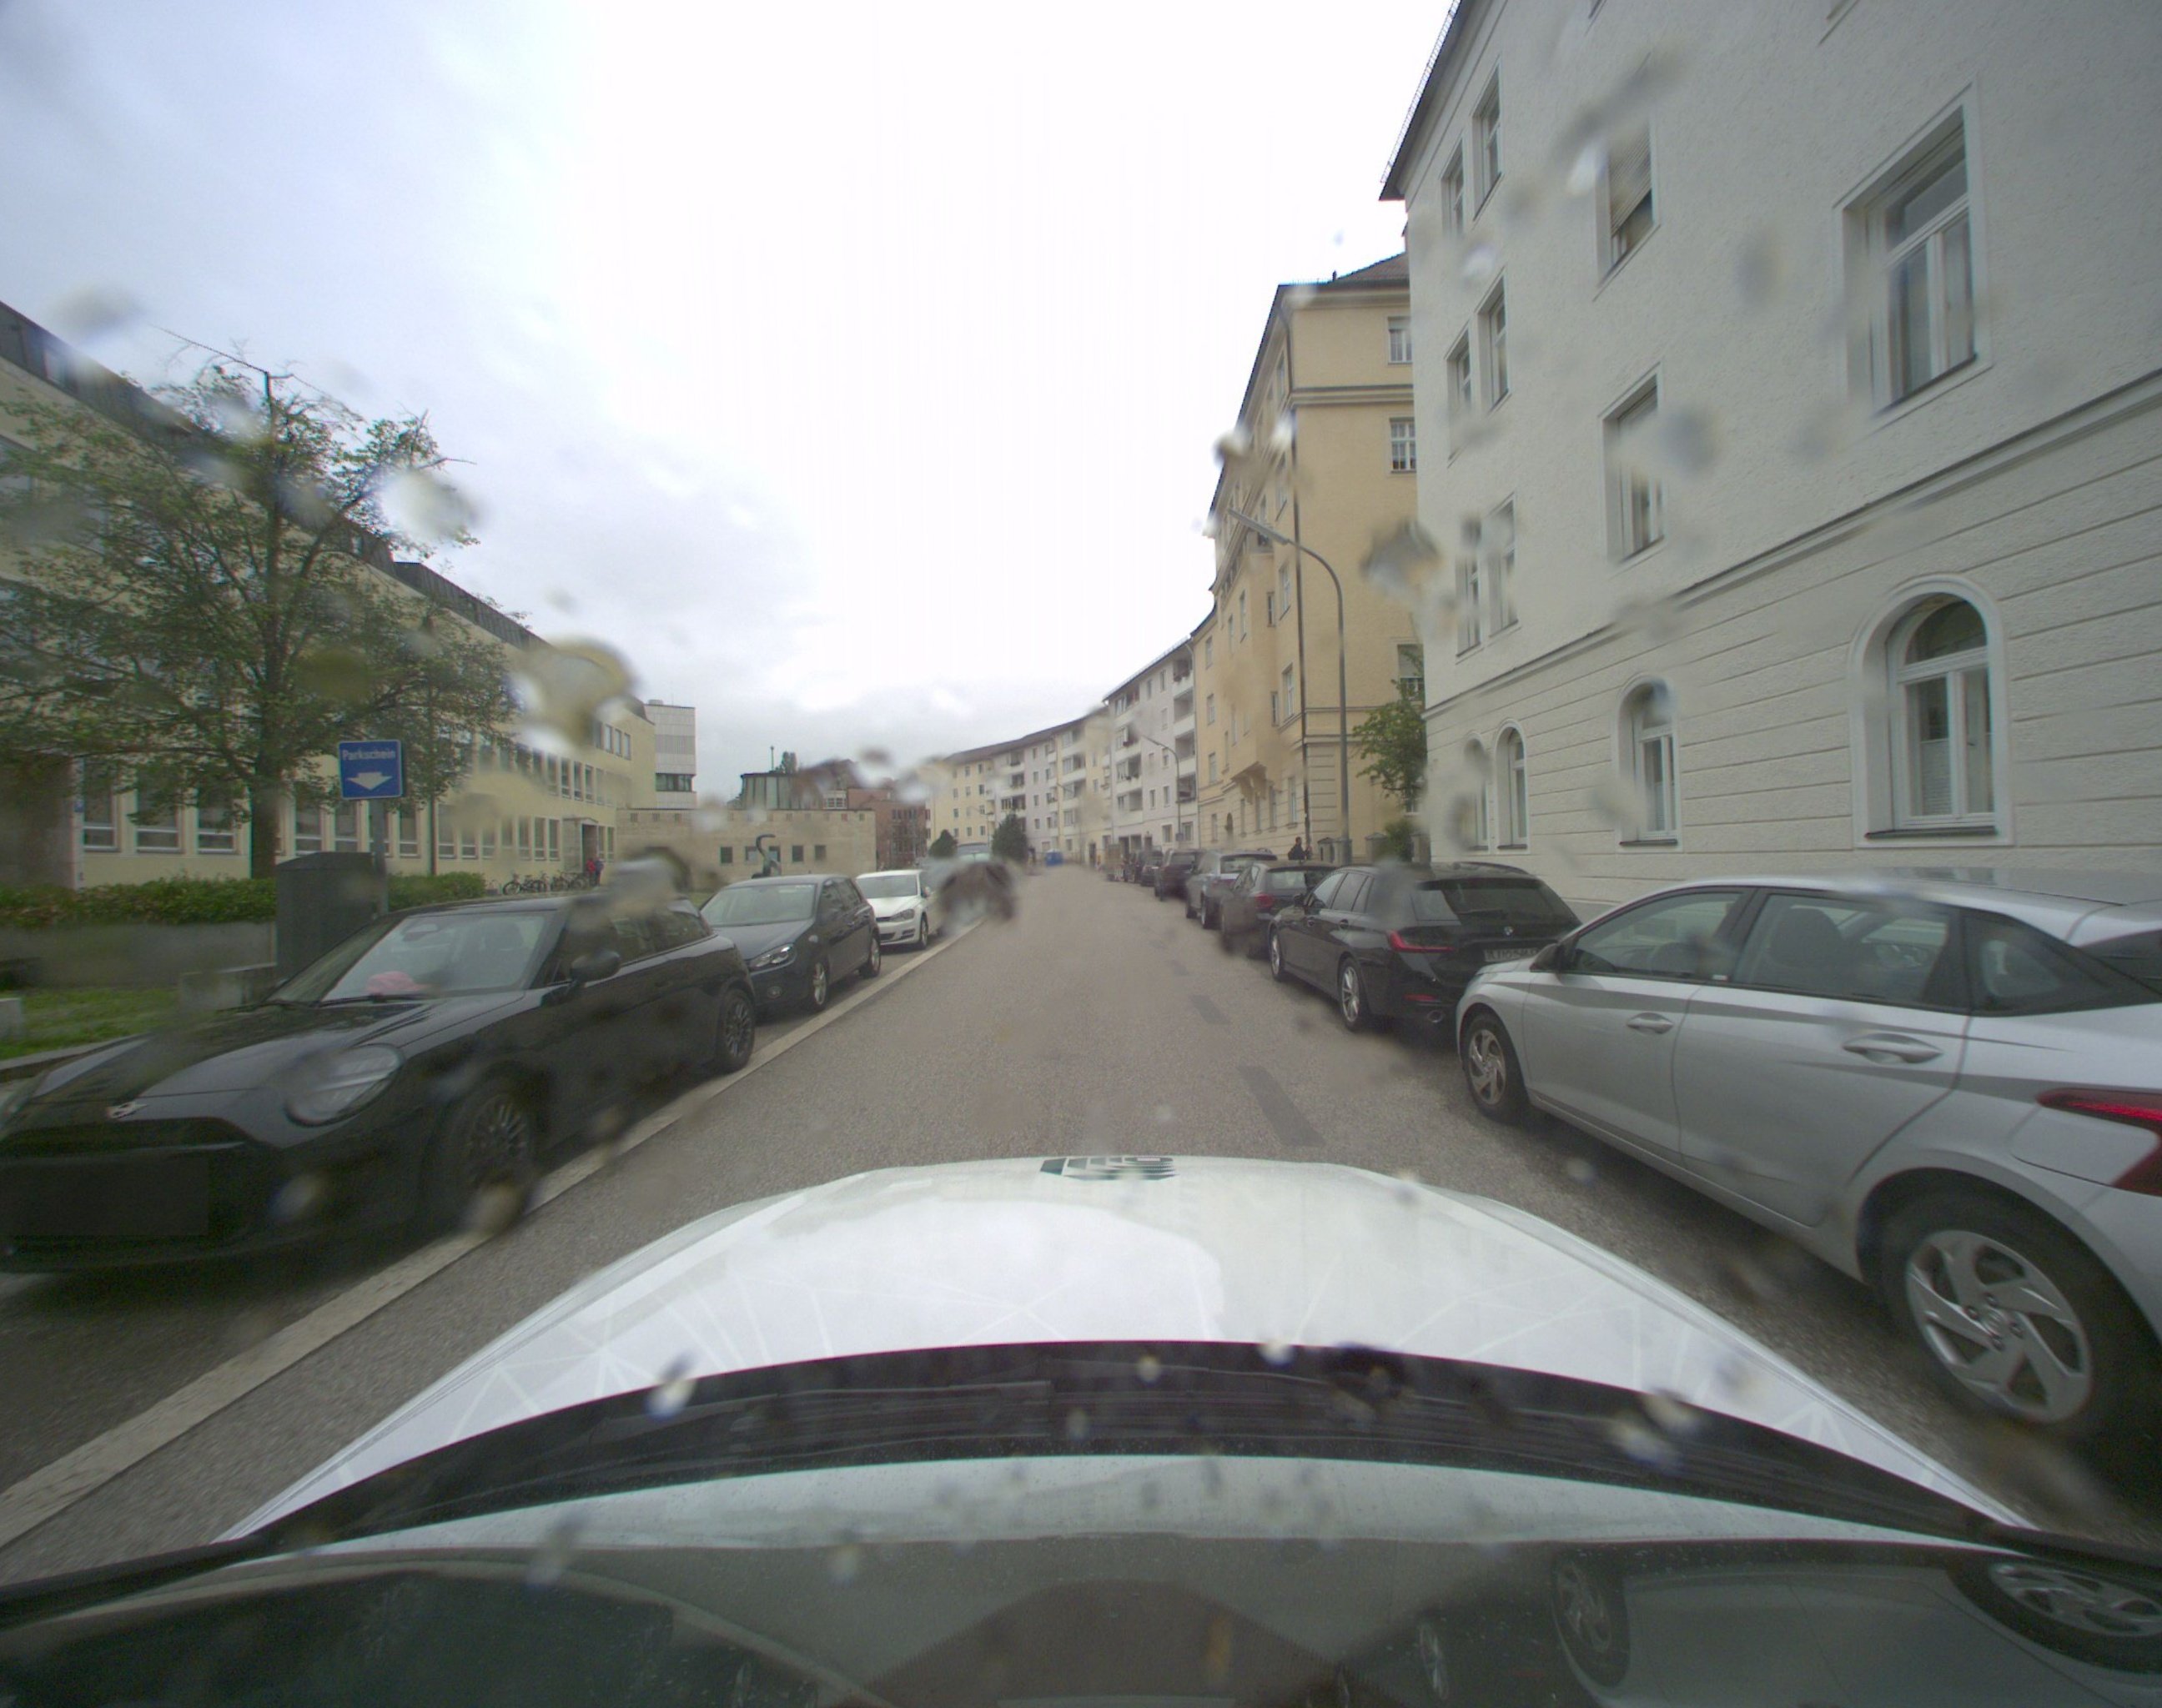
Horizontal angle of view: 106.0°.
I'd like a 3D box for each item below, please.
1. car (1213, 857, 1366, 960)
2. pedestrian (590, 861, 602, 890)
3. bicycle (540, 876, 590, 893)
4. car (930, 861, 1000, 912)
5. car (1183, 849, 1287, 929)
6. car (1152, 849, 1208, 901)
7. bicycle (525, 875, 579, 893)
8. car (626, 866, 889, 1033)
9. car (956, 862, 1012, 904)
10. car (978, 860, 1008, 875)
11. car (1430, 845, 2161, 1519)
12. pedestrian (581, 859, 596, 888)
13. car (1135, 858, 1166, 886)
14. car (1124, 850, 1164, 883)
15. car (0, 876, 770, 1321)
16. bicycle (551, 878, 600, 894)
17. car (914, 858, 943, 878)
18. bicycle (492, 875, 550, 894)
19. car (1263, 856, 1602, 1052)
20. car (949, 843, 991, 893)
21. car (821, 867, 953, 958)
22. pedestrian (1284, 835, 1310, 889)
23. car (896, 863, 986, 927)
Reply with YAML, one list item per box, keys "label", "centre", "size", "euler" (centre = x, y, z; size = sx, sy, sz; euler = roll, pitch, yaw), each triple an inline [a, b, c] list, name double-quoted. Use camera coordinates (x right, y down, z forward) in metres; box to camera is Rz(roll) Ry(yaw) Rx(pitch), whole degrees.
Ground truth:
- label: "car"
  centre: [3.258, 0.775, 13.433]
  size: [1.585, 1.432, 3.825]
  euler: [0, 0, 1]
- label: "pedestrian"
  centre: [-29.719, 1.317, 49.917]
  size: [0.602, 1.736, 0.657]
  euler: [1, -1, -29]
- label: "bicycle"
  centre: [-27.929, 1.667, 44.091]
  size: [2.210, 0.835, 0.492]
  euler: [-2, -1, -17]
- label: "car"
  centre: [-3.633, 0.990, 26.111]
  size: [1.618, 1.419, 3.980]
  euler: [-3, 0, 0]
- label: "car"
  centre: [3.352, 0.695, 18.437]
  size: [1.585, 1.582, 4.299]
  euler: [0, 0, 1]
- label: "car"
  centre: [3.345, 0.678, 28.027]
  size: [1.469, 1.641, 4.001]
  euler: [0, 0, 1]
- label: "bicycle"
  centre: [-27.602, 1.567, 42.504]
  size: [2.210, 0.835, 0.702]
  euler: [-2, -1, -17]
- label: "car"
  centre: [-3.608, 0.950, 9.896]
  size: [1.619, 1.508, 3.979]
  euler: [-3, 0, -1]
- label: "car"
  centre: [-3.612, 1.037, 30.744]
  size: [1.618, 1.419, 3.647]
  euler: [-3, 0, 0]
- label: "car"
  centre: [-9.838, 1.481, 90.870]
  size: [1.709, 1.558, 3.542]
  euler: [-1, 0, -38]
- label: "car"
  centre: [3.163, 0.717, 3.489]
  size: [1.686, 1.432, 3.944]
  euler: [0, -1, 1]
- label: "pedestrian"
  centre: [-29.564, 1.179, 48.869]
  size: [0.675, 1.736, 0.636]
  euler: [1, -1, -35]
- label: "car"
  centre: [3.395, 0.870, 39.888]
  size: [1.268, 1.299, 2.797]
  euler: [-1, 0, 0]
- label: "car"
  centre: [3.444, 0.673, 45.100]
  size: [1.601, 1.715, 3.081]
  euler: [0, 0, -8]
- label: "car"
  centre: [-3.431, 0.926, 4.780]
  size: [1.618, 1.412, 3.799]
  euler: [-4, 0, 1]
- label: "bicycle"
  centre: [-28.116, 1.783, 45.322]
  size: [2.210, 0.835, 0.492]
  euler: [-2, -1, -17]
- label: "car"
  centre: [-12.892, 1.178, 68.569]
  size: [1.607, 1.648, 3.113]
  euler: [1, -1, -26]
- label: "bicycle"
  centre: [-27.495, 1.505, 39.996]
  size: [2.210, 0.835, 0.702]
  euler: [-2, -1, -17]
- label: "car"
  centre: [3.108, 0.745, 8.259]
  size: [1.585, 1.432, 4.421]
  euler: [0, 0, 1]
- label: "car"
  centre: [-6.317, 0.772, 46.111]
  size: [1.774, 2.654, 3.977]
  euler: [-1, 0, -17]
- label: "car"
  centre: [-3.579, 1.022, 15.711]
  size: [1.619, 1.419, 3.979]
  euler: [-3, 0, -1]
- label: "pedestrian"
  centre: [6.887, 0.263, 26.015]
  size: [0.664, 1.692, 0.690]
  euler: [1, -1, 1]
- label: "car"
  centre: [-3.523, 0.989, 21.176]
  size: [1.618, 1.419, 3.980]
  euler: [-3, 0, 0]
